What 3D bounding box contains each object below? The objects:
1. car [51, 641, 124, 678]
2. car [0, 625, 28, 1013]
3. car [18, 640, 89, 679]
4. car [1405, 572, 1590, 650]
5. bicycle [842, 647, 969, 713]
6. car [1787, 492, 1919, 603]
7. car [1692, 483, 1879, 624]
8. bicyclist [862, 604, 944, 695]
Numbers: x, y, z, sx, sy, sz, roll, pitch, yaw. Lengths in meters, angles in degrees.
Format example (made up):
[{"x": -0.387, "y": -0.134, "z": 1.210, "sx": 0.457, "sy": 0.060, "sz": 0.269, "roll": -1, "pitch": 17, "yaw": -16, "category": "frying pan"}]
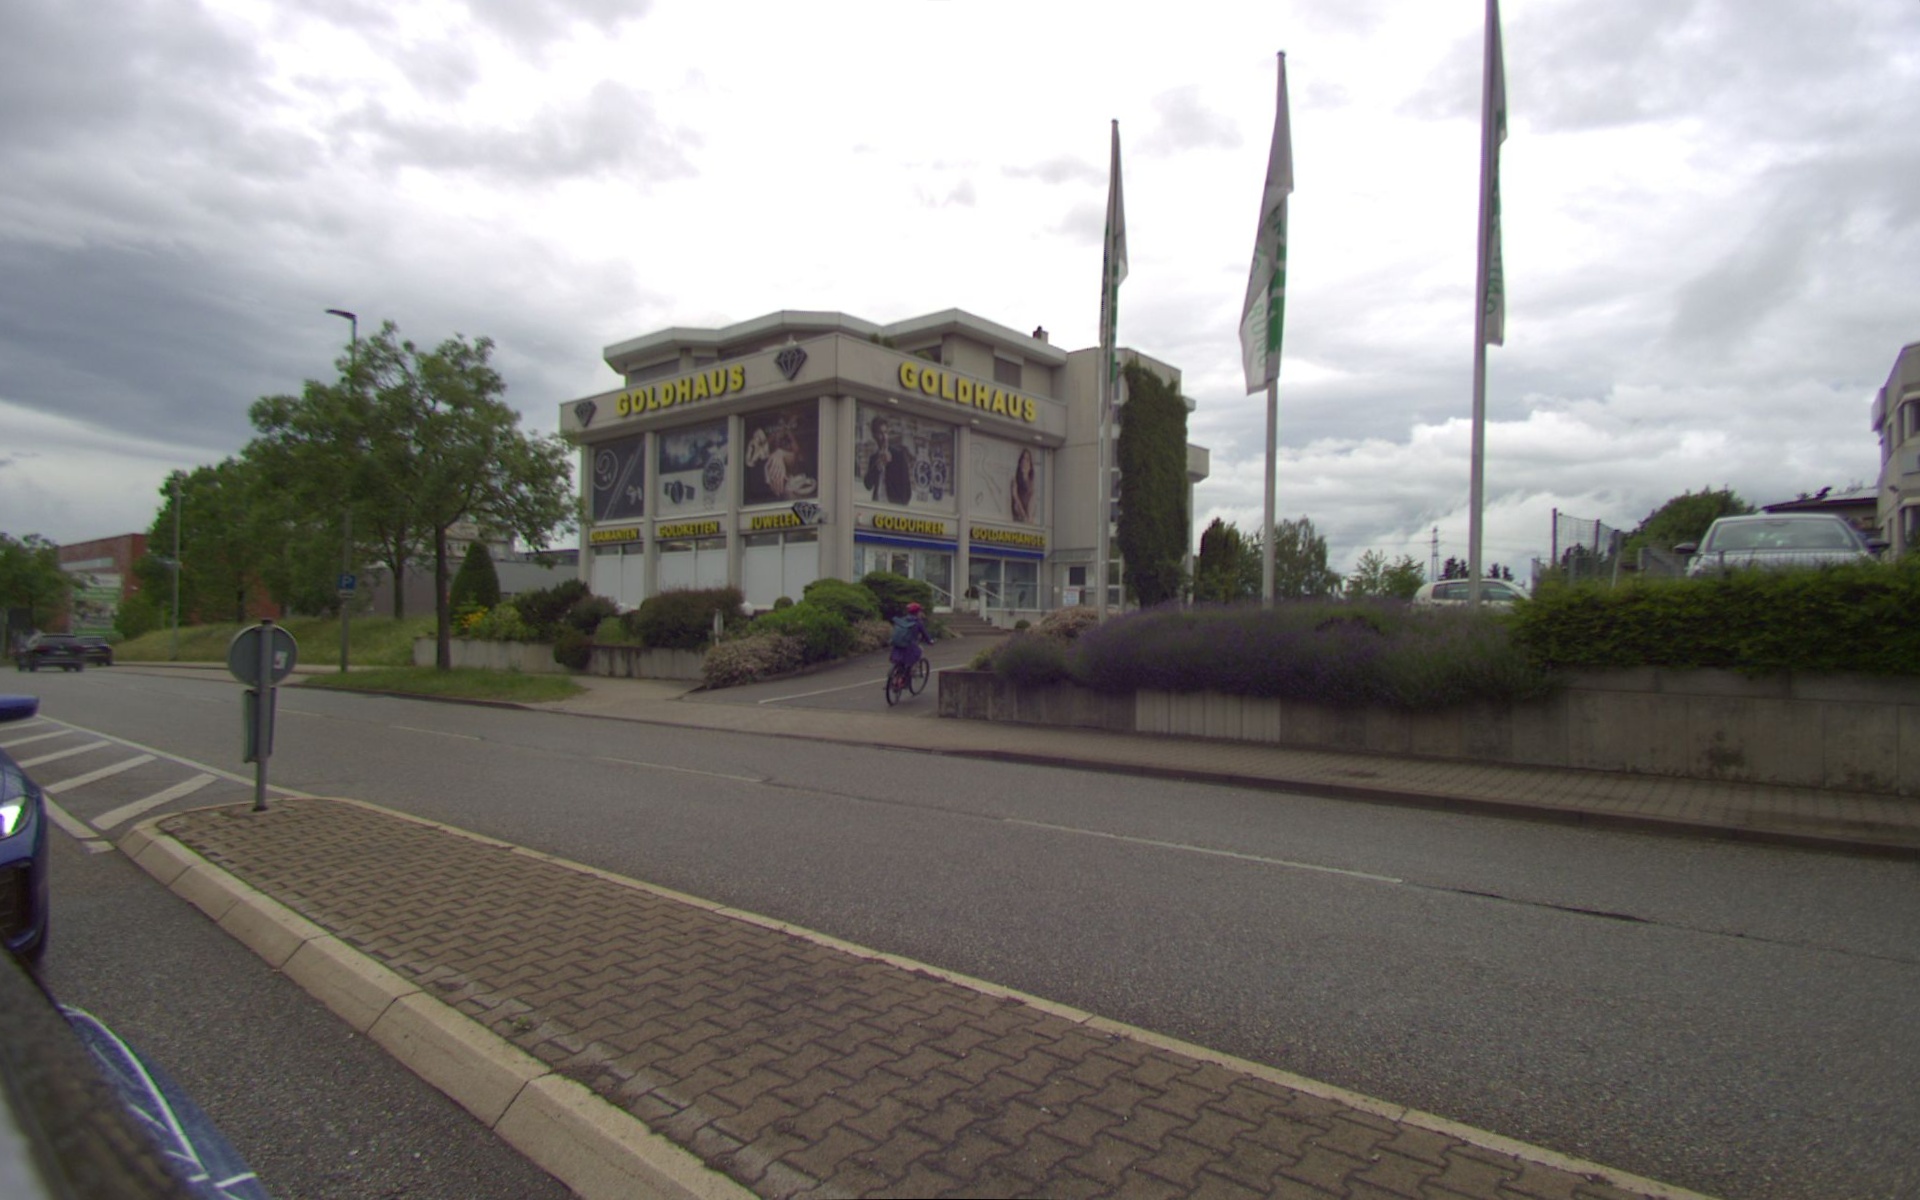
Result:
[{"x": -47.165, "y": 3.217, "z": 54.680, "sx": 4.541, "sy": 1.905, "sz": 2.320, "roll": -4, "pitch": -4, "yaw": 41, "category": "car"}, {"x": -5.913, "y": 0.857, "z": 4.688, "sx": 4.593, "sy": 1.468, "sz": 1.762, "roll": -1, "pitch": -1, "yaw": 40, "category": "car"}, {"x": -39.701, "y": 2.601, "z": 44.301, "sx": 4.001, "sy": 1.608, "sz": 1.971, "roll": -4, "pitch": -4, "yaw": 44, "category": "car"}, {"x": 11.966, "y": 0.278, "z": 22.621, "sx": 3.384, "sy": 1.609, "sz": 1.511, "roll": -2, "pitch": -2, "yaw": 41, "category": "car"}, {"x": -0.921, "y": 1.362, "z": 17.761, "sx": 0.909, "sy": 0.820, "sz": 2.264, "roll": -2, "pitch": 4, "yaw": 39, "category": "bicycle"}, {"x": 14.137, "y": -0.744, "z": 16.065, "sx": 1.452, "sy": 1.484, "sz": 3.353, "roll": -2, "pitch": -2, "yaw": 38, "category": "car"}, {"x": 9.495, "y": -0.414, "z": 11.602, "sx": 1.454, "sy": 1.347, "sz": 3.350, "roll": -2, "pitch": -2, "yaw": 42, "category": "car"}, {"x": -0.989, "y": 0.840, "z": 17.698, "sx": 0.909, "sy": 1.453, "sz": 1.014, "roll": -2, "pitch": 3, "yaw": 39, "category": "bicyclist"}]
